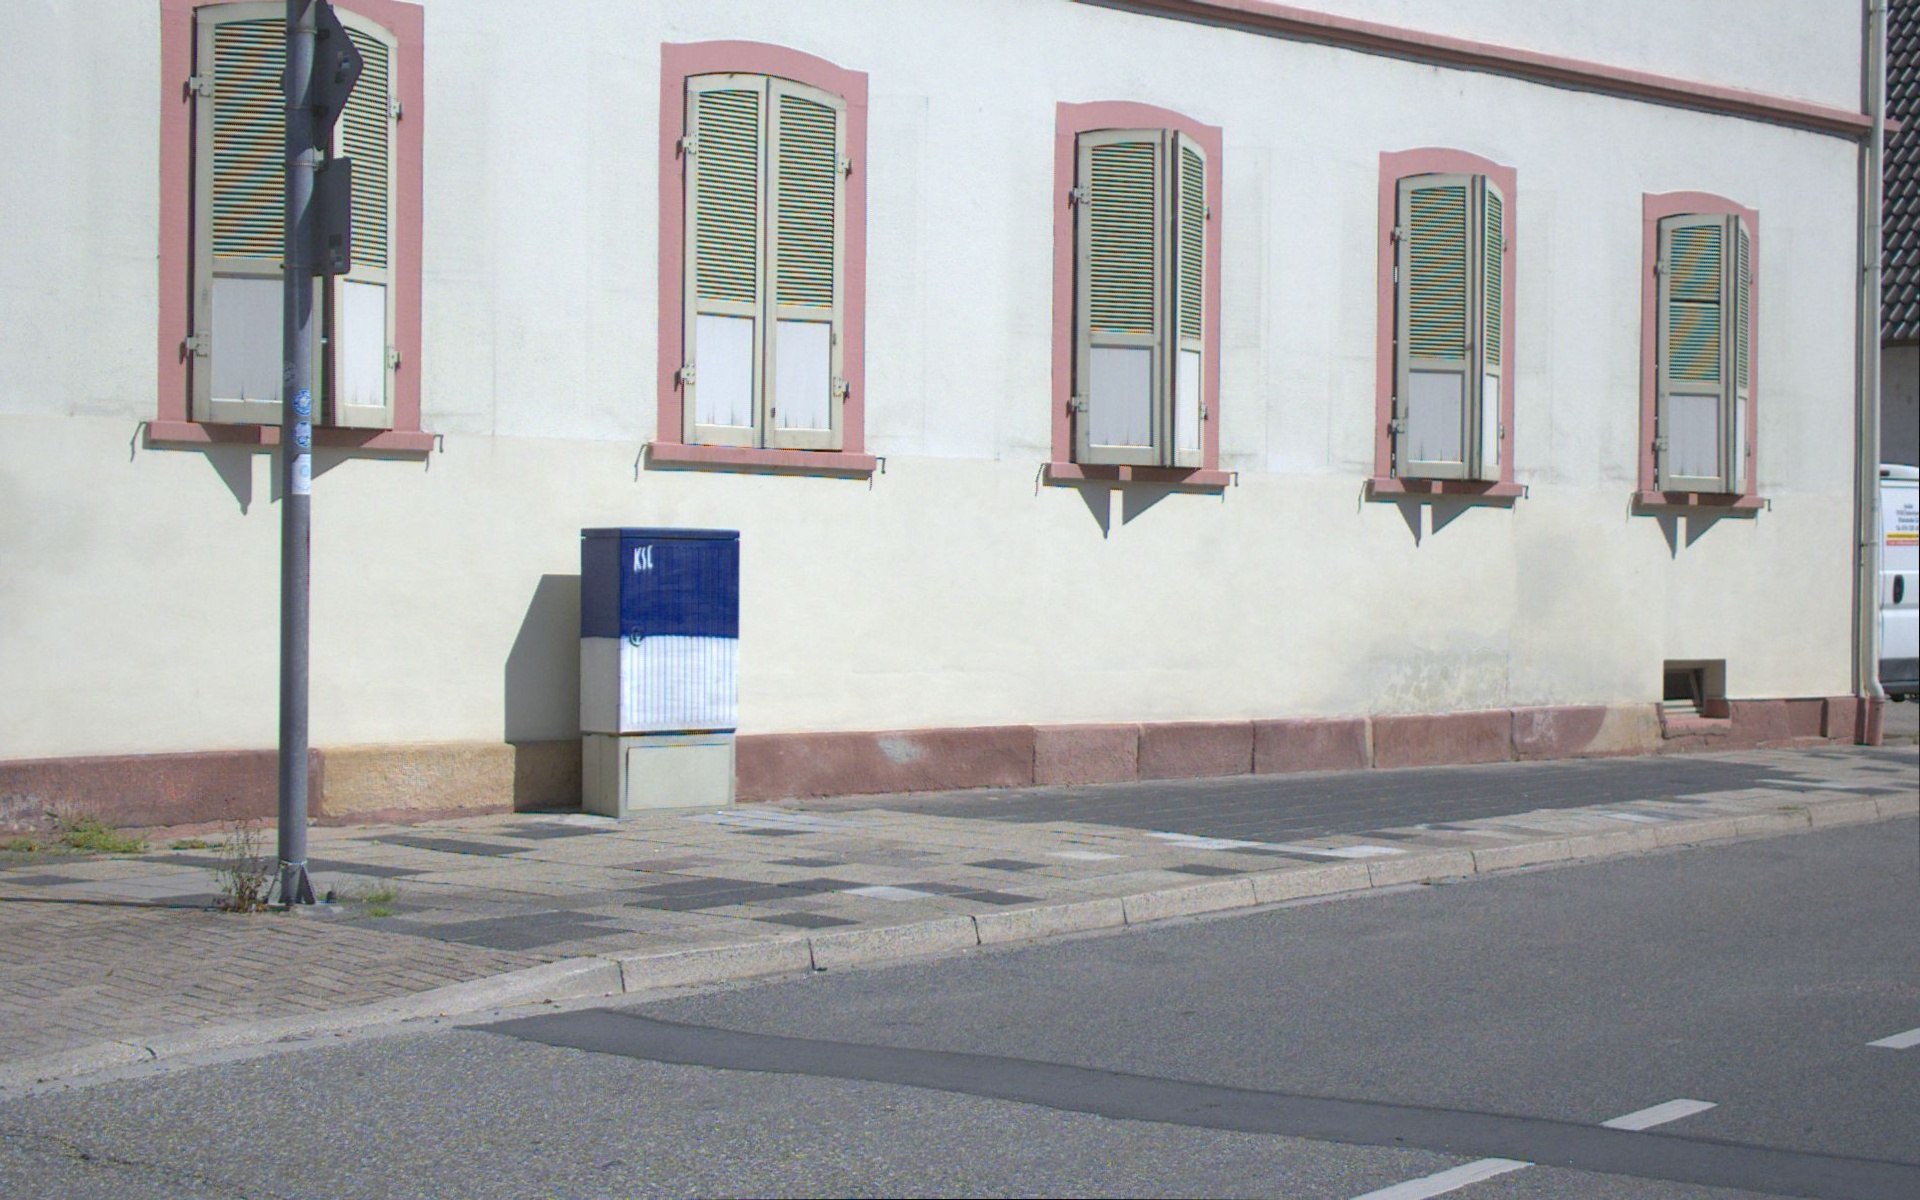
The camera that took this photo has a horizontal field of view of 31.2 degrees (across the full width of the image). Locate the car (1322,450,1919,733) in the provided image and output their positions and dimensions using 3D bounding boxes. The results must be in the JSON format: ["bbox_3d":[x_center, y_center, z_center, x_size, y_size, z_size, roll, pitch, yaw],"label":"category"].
[{"bbox_3d":[5.770,-0.149,29.203,2.117,2.189,5.190,0,2,-43],"label":"car"}]
